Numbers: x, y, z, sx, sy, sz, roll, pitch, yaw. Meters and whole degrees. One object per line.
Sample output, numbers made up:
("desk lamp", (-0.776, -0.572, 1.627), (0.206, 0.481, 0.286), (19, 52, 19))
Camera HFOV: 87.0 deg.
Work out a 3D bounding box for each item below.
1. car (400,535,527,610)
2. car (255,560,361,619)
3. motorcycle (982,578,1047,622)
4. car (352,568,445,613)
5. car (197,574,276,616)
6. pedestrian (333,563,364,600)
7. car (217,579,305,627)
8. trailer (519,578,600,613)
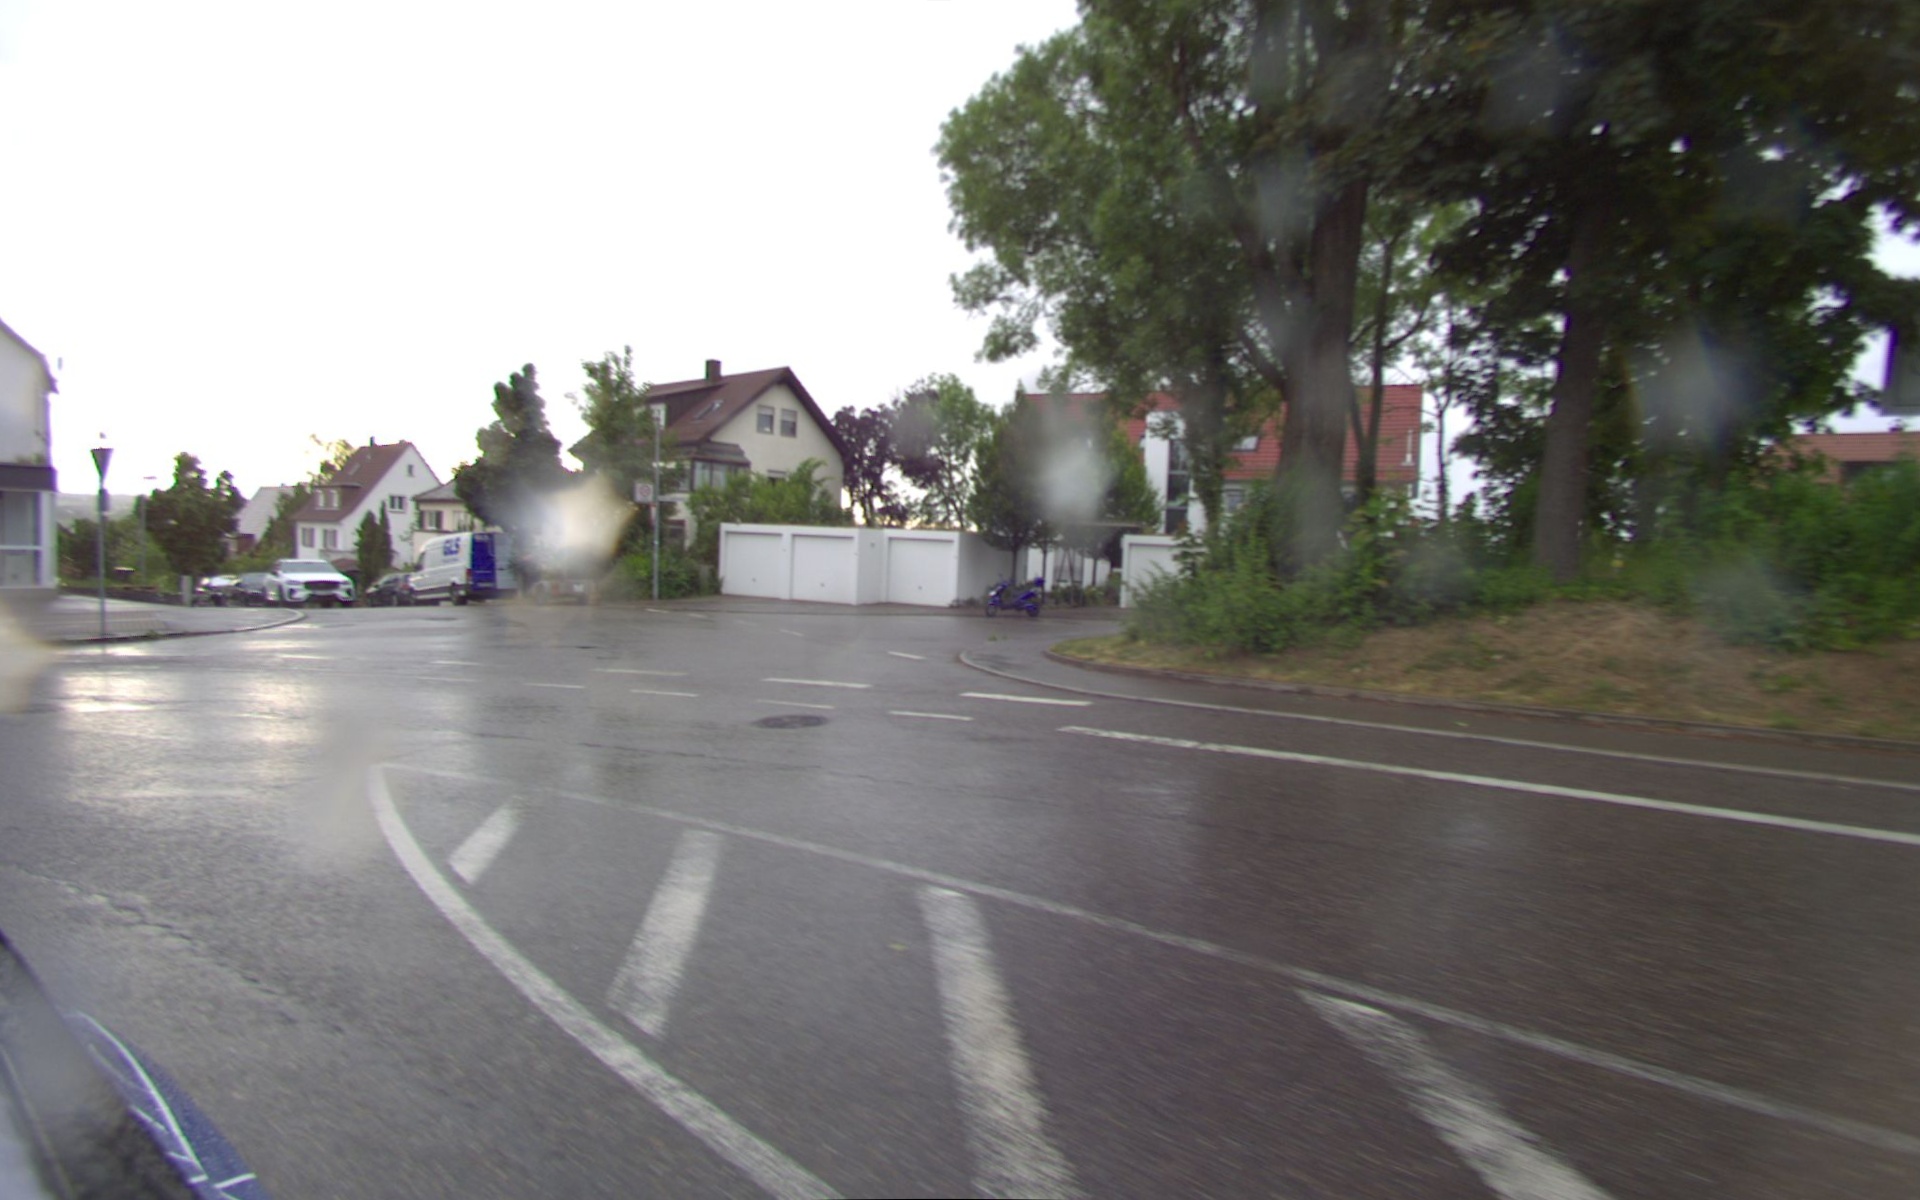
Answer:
("car", (-18.380, -1.027, 37.278), (6.256, 2.542, 2.160), (2, 3, 44))
("car", (-20.722, -0.390, 32.068), (2.036, 1.718, 4.800), (-2, 3, -42))
("motorcycle", (1.710, -0.009, 31.761), (2.019, 1.332, 0.708), (0, 2, 3))
("car", (-23.432, -0.444, 42.175), (4.795, 1.718, 2.038), (2, 3, 44))
("car", (-29.254, -0.241, 40.874), (2.036, 1.521, 4.488), (-2, 3, -42))
("pedestrian", (-25.365, -0.769, 41.983), (0.977, 1.521, 0.814), (2, 3, 43))
("car", (-25.349, 0.049, 36.651), (2.036, 1.521, 4.488), (-2, 3, -42))
("trailer", (-12.873, -0.184, 32.481), (1.568, 1.014, 2.828), (-4, 3, -40))
